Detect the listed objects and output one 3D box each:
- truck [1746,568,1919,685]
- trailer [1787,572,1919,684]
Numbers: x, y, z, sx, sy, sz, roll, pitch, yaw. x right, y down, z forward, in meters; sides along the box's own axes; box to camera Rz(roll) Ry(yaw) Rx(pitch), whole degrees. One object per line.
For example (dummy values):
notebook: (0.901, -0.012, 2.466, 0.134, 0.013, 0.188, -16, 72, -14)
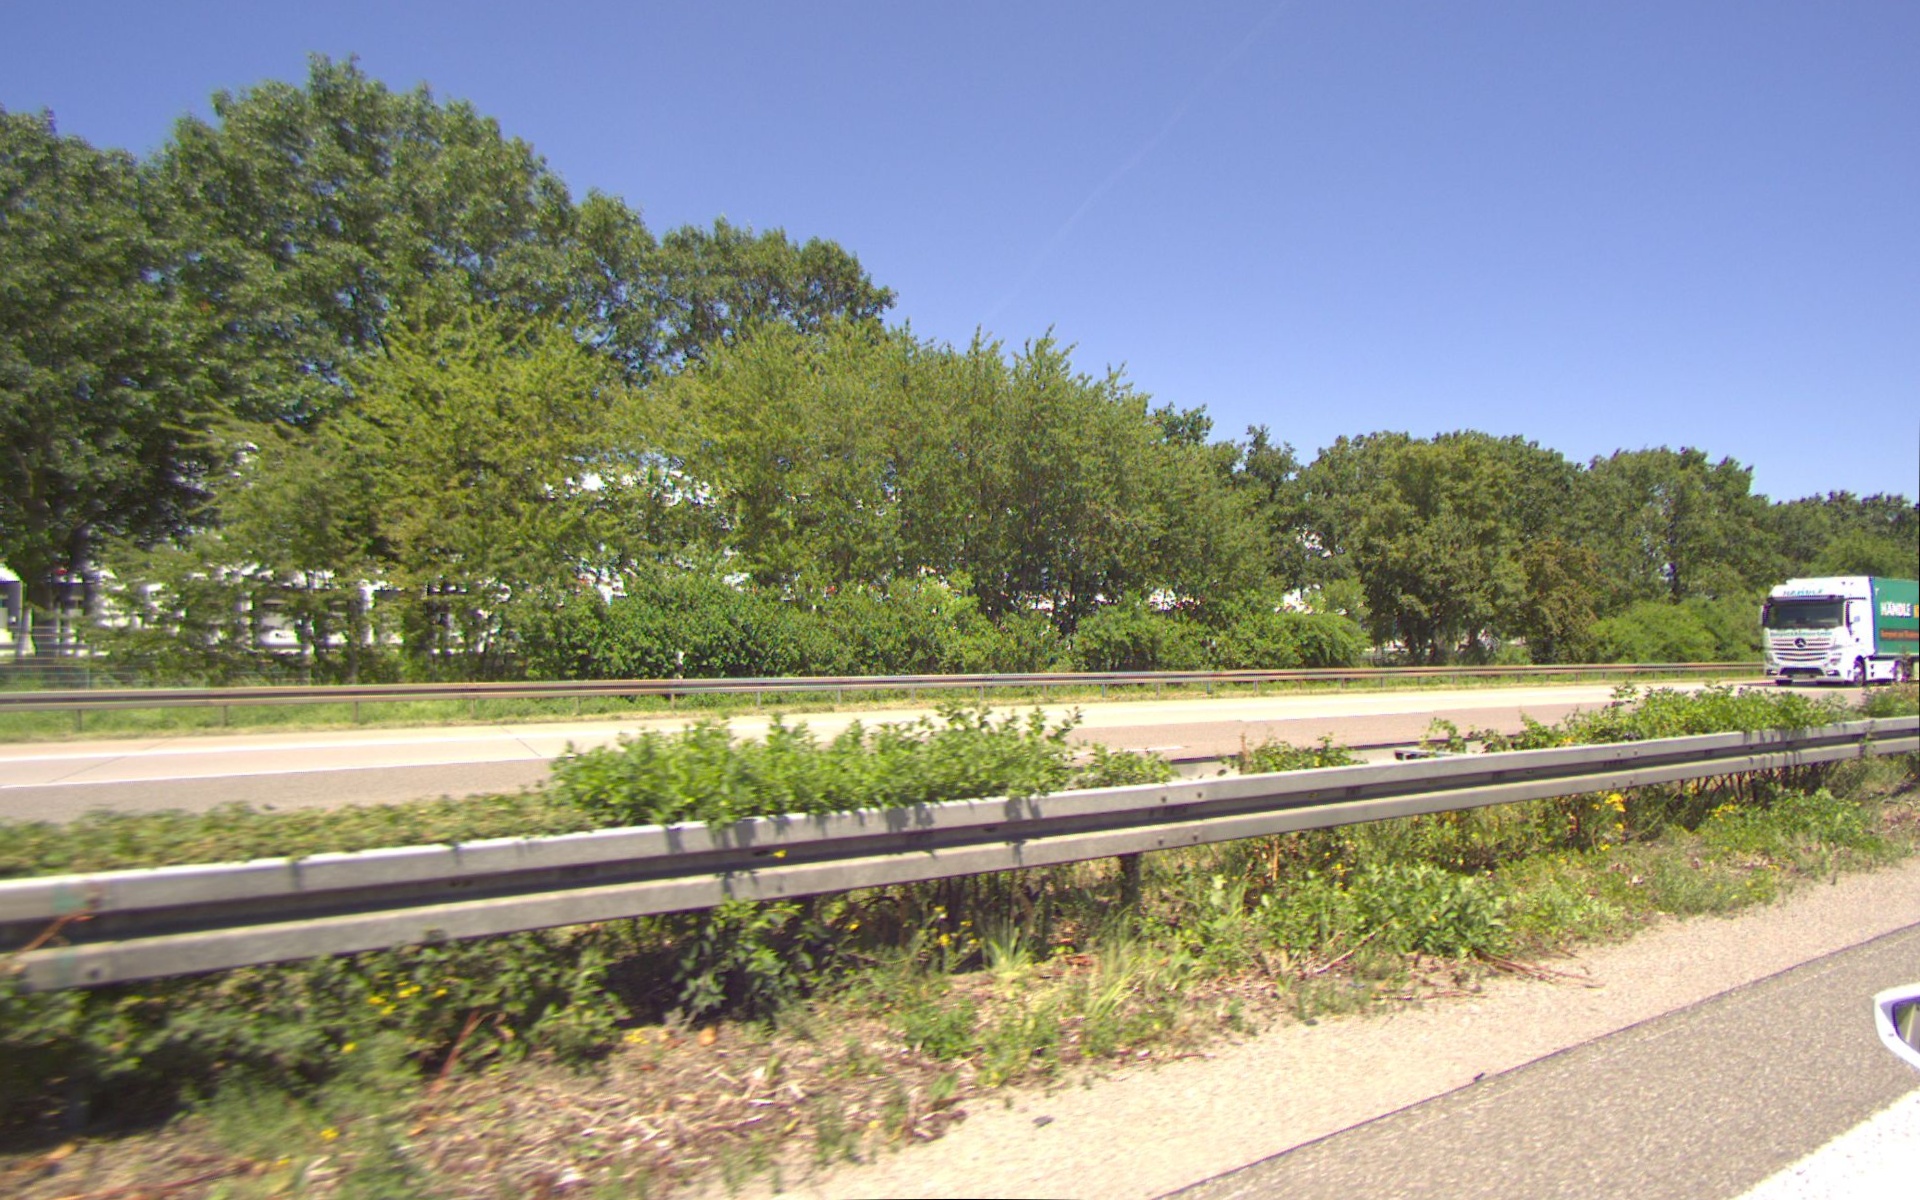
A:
truck: (32.885, 1.086, 37.832, 6.255, 4.096, 2.866, 2, -4, -29)
trailer: (38.949, 1.281, 41.251, 13.515, 4.096, 2.865, 2, -4, -29)
